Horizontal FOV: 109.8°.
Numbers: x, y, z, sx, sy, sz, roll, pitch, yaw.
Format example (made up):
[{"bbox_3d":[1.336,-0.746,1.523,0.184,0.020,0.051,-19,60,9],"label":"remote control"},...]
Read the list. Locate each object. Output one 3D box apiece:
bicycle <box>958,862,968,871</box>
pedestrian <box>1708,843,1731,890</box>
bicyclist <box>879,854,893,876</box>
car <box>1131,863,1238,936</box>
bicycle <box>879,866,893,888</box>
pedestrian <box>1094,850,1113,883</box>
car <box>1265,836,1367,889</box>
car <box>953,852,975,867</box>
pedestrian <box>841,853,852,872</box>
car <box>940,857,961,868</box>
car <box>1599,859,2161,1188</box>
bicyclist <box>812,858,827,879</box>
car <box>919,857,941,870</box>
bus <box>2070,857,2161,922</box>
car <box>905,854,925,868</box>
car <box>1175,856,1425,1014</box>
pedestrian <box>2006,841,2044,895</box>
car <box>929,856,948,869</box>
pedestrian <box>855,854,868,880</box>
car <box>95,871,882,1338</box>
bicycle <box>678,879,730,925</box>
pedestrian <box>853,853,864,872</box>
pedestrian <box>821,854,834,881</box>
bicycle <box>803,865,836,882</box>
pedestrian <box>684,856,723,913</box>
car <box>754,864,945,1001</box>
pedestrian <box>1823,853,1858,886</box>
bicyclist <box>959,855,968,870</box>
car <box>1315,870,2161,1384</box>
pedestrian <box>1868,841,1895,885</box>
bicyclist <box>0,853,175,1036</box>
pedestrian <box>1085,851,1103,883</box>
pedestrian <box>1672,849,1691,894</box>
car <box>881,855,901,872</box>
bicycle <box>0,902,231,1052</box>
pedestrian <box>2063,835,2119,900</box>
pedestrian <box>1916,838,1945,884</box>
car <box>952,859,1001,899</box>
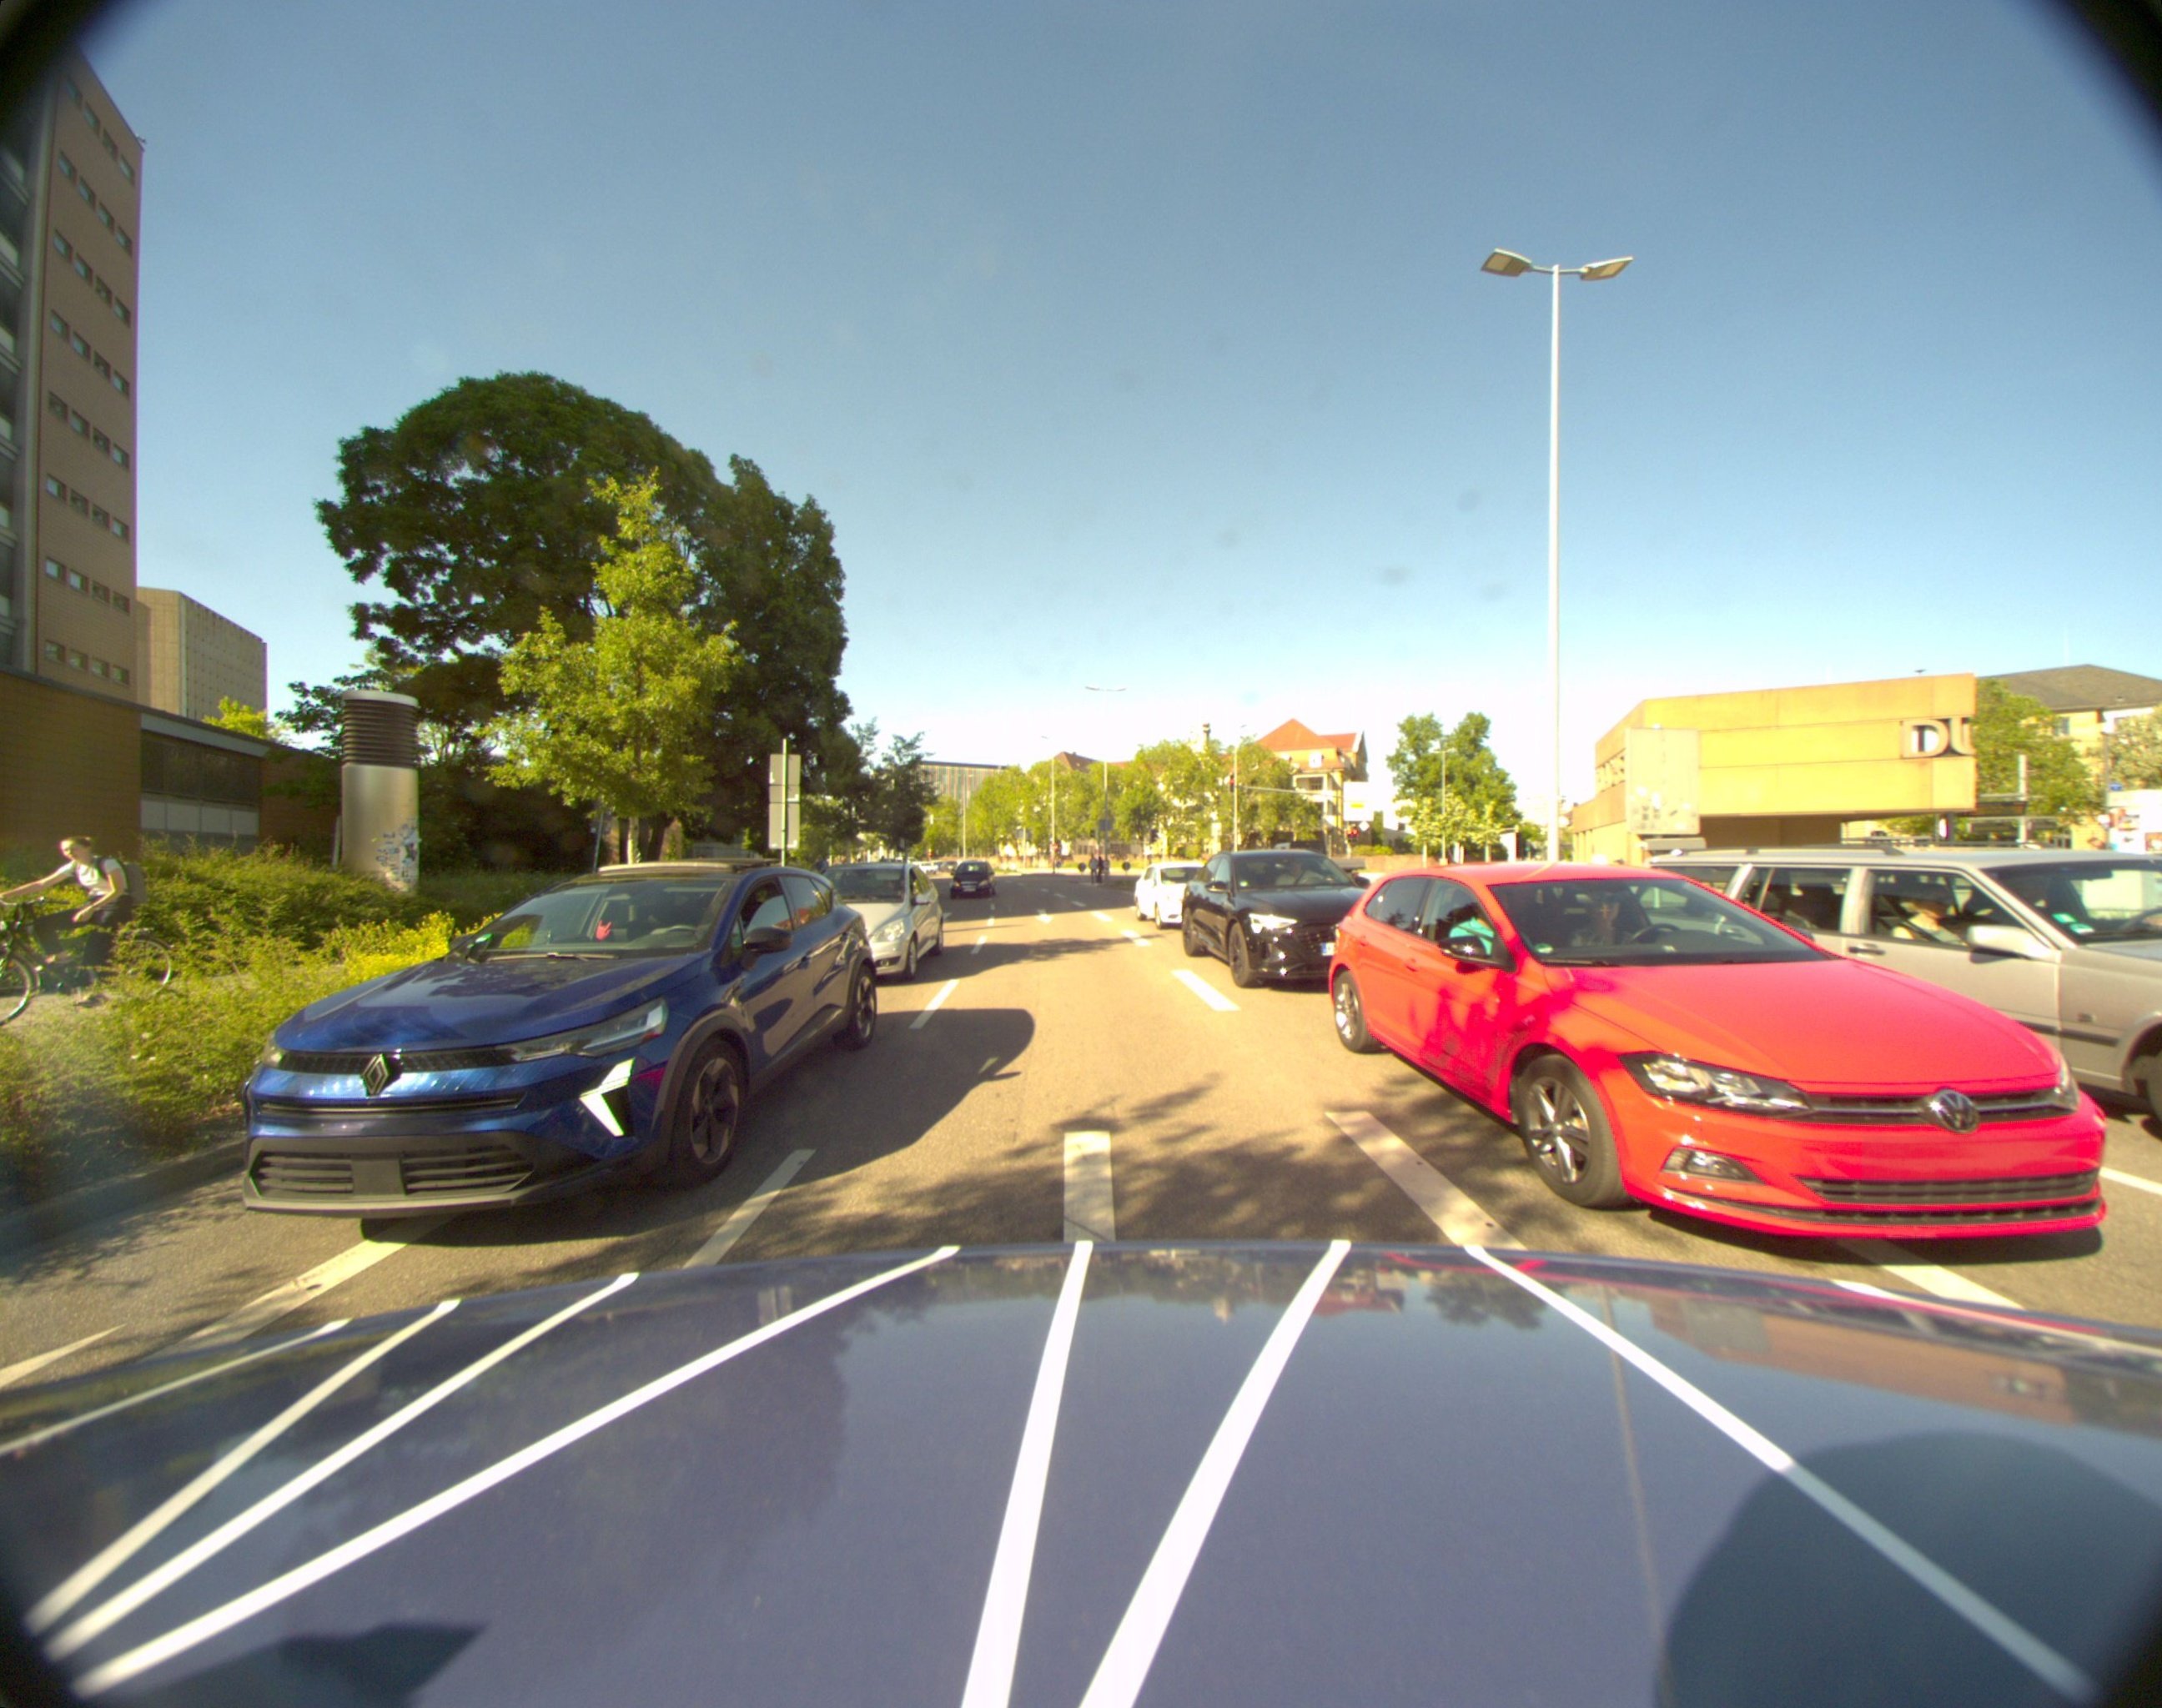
[{"bbox_3d":[-12.404,1.333,79.791,0.591,0.884,1.652,-2,0,-23],"label":"bicycle"},{"bbox_3d":[24.435,0.473,29.063,0.644,1.766,0.618,0,1,42],"label":"pedestrian"},{"bbox_3d":[-11.463,0.626,44.701,0.723,1.271,0.906,2,0,-17],"label":"bicyclist"},{"bbox_3d":[2.268,0.964,17.548,1.575,1.410,3.711,-3,0,-5],"label":"car"},{"bbox_3d":[-11.549,1.335,44.937,0.693,1.211,1.832,2,0,-17],"label":"bicycle"},{"bbox_3d":[1.275,0.702,43.063,0.757,1.814,0.775,-2,1,-17],"label":"pedestrian"},{"bbox_3d":[11.158,0.385,36.723,2.117,2.300,6.209,-1,0,-10],"label":"car"},{"bbox_3d":[-13.175,0.658,85.450,1.527,1.669,3.374,-2,0,-24],"label":"car"},{"bbox_3d":[-24.366,0.899,78.906,0.823,1.906,0.770,-2,1,-29],"label":"pedestrian"},{"bbox_3d":[-15.813,1.061,92.155,1.587,1.197,3.992,-2,1,-23],"label":"car"},{"bbox_3d":[5.781,0.799,4.706,1.713,1.464,4.750,-1,0,-3],"label":"car"},{"bbox_3d":[-18.717,1.025,54.339,0.848,1.465,0.764,-1,0,-28],"label":"bicyclist"},{"bbox_3d":[-16.638,1.011,83.757,1.754,1.370,3.568,-1,0,-21],"label":"car"},{"bbox_3d":[21.610,0.673,13.817,1.646,1.234,4.182,-1,0,-5],"label":"bus"},{"bbox_3d":[-23.807,0.994,109.074,1.790,2.002,4.223,-2,1,-26],"label":"car"},{"bbox_3d":[2.562,0.846,10.120,1.859,1.606,4.452,-1,0,-3],"label":"car"},{"bbox_3d":[31.371,0.470,25.267,0.644,1.766,0.469,-1,0,21],"label":"pedestrian"},{"bbox_3d":[-18.493,1.077,98.414,1.598,1.595,3.066,-1,0,-25],"label":"car"},{"bbox_3d":[-13.669,0.797,47.316,0.694,1.594,0.660,0,0,-27],"label":"pedestrian"},{"bbox_3d":[-2.687,0.958,4.798,1.705,1.596,4.084,-1,0,1],"label":"car"},{"bbox_3d":[-9.593,1.196,19.415,0.517,1.038,1.767,1,0,-3],"label":"bicycle"},{"bbox_3d":[-23.242,0.856,79.318,0.823,1.906,0.770,-2,1,-29],"label":"pedestrian"},{"bbox_3d":[-15.223,0.809,45.622,0.694,1.594,0.660,0,0,-24],"label":"pedestrian"},{"bbox_3d":[-18.713,1.396,54.323,2.128,1.168,0.764,-1,1,-29],"label":"bicycle"},{"bbox_3d":[-9.602,0.753,19.340,0.517,1.394,0.961,1,0,-3],"label":"pedestrian"},{"bbox_3d":[-3.173,0.976,11.282,1.786,1.615,4.042,-1,0,-3],"label":"car"},{"bbox_3d":[30.122,0.616,30.132,0.645,1.303,0.763,-1,0,10],"label":"pedestrian"},{"bbox_3d":[-12.368,0.872,79.754,0.696,1.549,0.814,-2,1,-23],"label":"bicyclist"},{"bbox_3d":[2.791,0.883,4.280,1.674,1.464,3.853,-2,0,-1],"label":"car"},{"bbox_3d":[33.173,0.371,31.503,0.645,1.766,0.468,-1,0,-4],"label":"pedestrian"},{"bbox_3d":[-9.401,0.792,7.100,0.687,1.589,0.977,0,0,-1],"label":"bicyclist"},{"bbox_3d":[0.741,0.730,44.293,0.887,1.814,0.776,-2,1,-7],"label":"pedestrian"},{"bbox_3d":[23.964,0.690,30.335,0.467,1.766,0.647,0,0,29],"label":"pedestrian"},{"bbox_3d":[-21.820,1.048,87.224,1.830,1.842,3.745,0,0,-21],"label":"car"},{"bbox_3d":[-9.399,1.086,7.149,0.687,1.157,1.883,0,0,-1],"label":"bicycle"},{"bbox_3d":[28.658,0.373,21.568,0.645,1.778,0.668,-2,1,5],"label":"pedestrian"},{"bbox_3d":[33.200,0.276,29.696,0.645,1.766,0.468,-1,0,-4],"label":"pedestrian"},{"bbox_3d":[-4.535,1.052,33.335,1.651,1.601,3.489,0,0,0],"label":"car"}]
